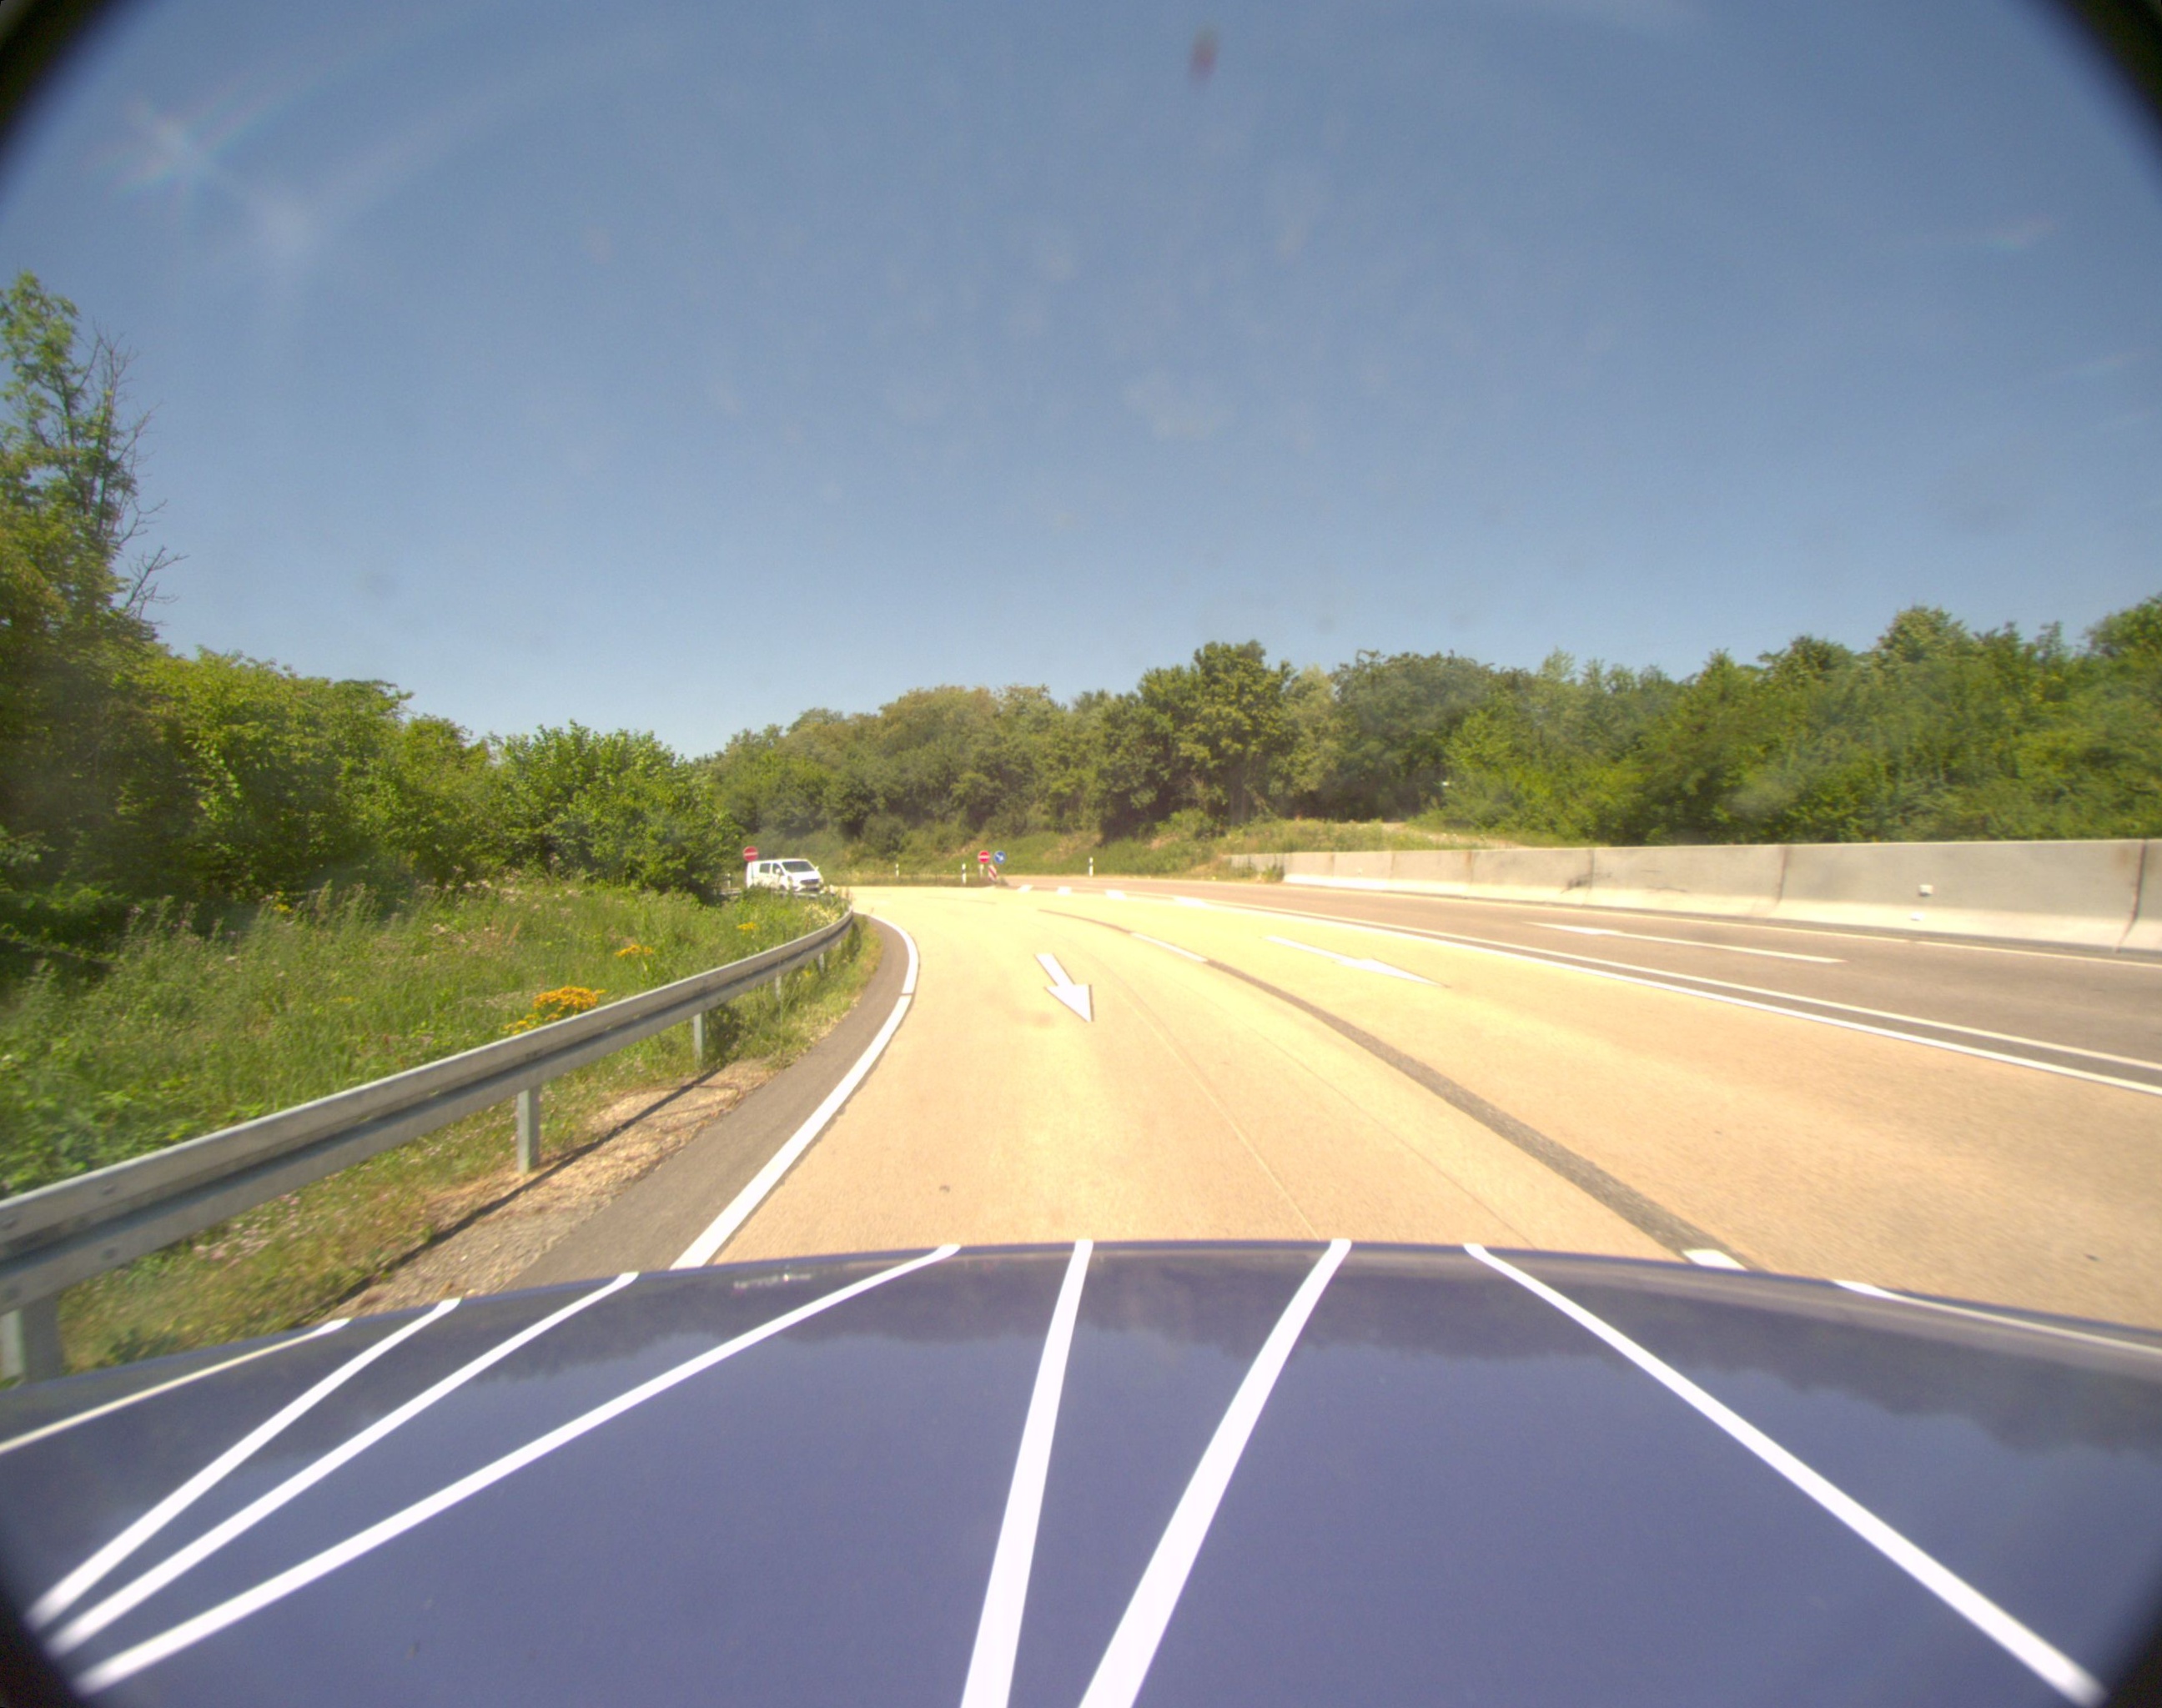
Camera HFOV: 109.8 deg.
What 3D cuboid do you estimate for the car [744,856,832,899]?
[{"bbox_3d":[-15.173,1.216,39.257,5.027,2.002,2.067,-2,2,42],"label":"car"}]
